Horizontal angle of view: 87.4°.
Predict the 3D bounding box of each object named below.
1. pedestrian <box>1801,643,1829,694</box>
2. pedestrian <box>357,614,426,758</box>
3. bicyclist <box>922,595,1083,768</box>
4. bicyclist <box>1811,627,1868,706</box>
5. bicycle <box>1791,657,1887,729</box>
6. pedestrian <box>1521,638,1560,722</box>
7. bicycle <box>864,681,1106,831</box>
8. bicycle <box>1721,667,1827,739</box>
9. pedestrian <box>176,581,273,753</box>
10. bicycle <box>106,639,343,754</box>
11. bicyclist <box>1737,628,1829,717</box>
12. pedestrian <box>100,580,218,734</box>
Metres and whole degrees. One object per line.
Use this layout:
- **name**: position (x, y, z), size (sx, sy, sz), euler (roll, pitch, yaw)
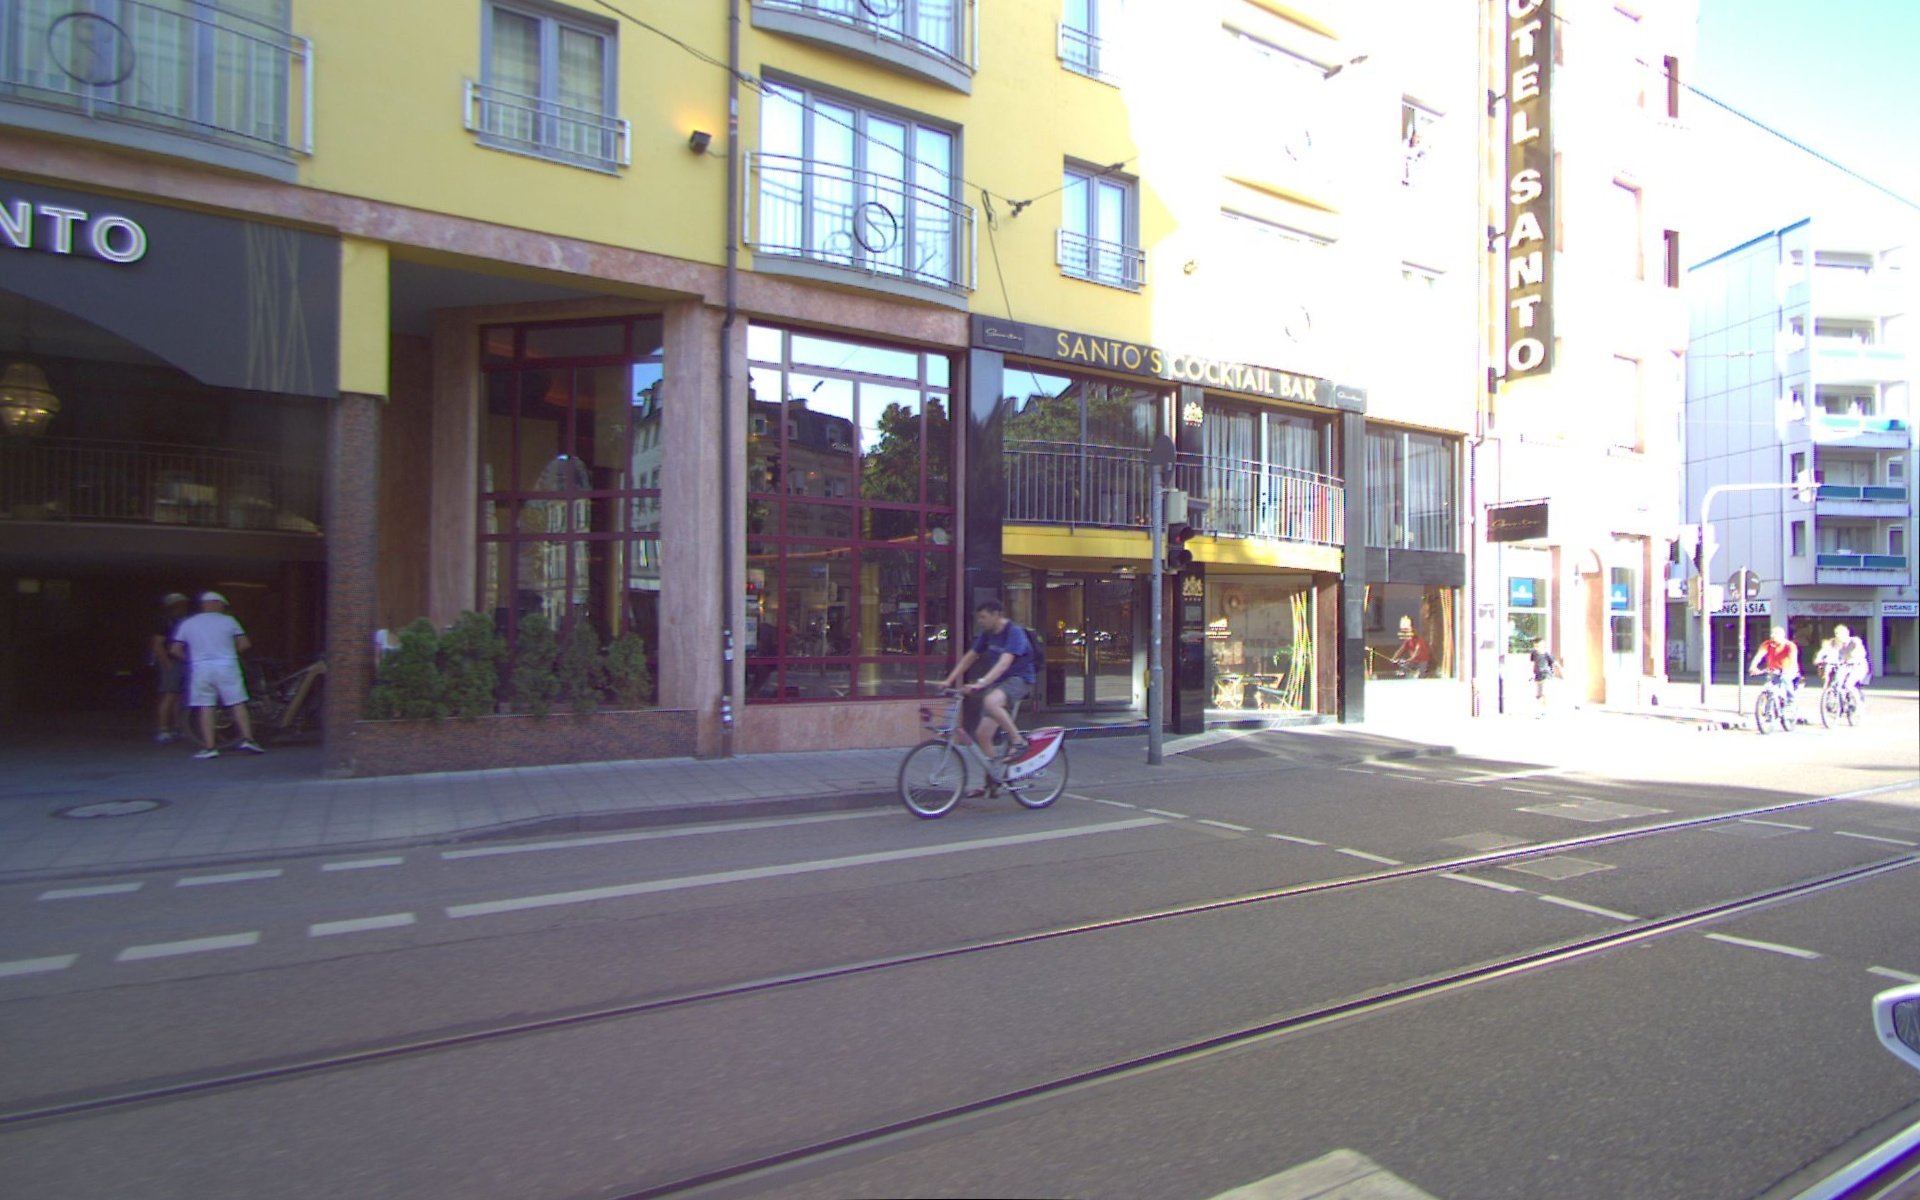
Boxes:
- **pedestrian**: position (27.079, 2.169, 31.827), size (0.510, 1.572, 0.540), euler (1, -2, -31)
- **pedestrian**: position (-6.452, 0.956, 11.434), size (0.593, 1.568, 0.703), euler (1, -1, -25)
- **bicyclist**: position (0.373, 0.677, 8.757), size (1.214, 1.399, 0.720), euler (1, -2, -31)
- **bicyclist**: position (15.808, 1.181, 18.057), size (0.671, 1.394, 0.587), euler (1, -2, -31)
- **bicycle**: position (15.804, 1.643, 18.056), size (2.038, 1.199, 0.727), euler (2, -2, -32)
- **pedestrian**: position (10.197, 1.393, 17.641), size (0.510, 1.429, 0.402), euler (1, -2, -31)
- **bicycle**: position (0.244, 1.291, 8.720), size (2.038, 1.102, 0.727), euler (2, -2, -32)
- **bicycle**: position (13.433, 1.662, 16.567), size (2.038, 1.079, 0.727), euler (2, -2, -32)
- **pedestrian**: position (-7.947, 0.713, 10.887), size (0.713, 1.793, 0.559), euler (1, -1, -25)
- **bicycle**: position (-8.243, 1.054, 11.374), size (2.053, 1.218, 0.580), euler (1, -2, -26)
- **bicyclist**: position (13.471, 1.159, 16.440), size (1.452, 1.399, 0.731), euler (1, -2, -32)
- **pedestrian**: position (-9.743, 0.685, 12.262), size (0.943, 1.793, 0.705), euler (1, -1, -25)
